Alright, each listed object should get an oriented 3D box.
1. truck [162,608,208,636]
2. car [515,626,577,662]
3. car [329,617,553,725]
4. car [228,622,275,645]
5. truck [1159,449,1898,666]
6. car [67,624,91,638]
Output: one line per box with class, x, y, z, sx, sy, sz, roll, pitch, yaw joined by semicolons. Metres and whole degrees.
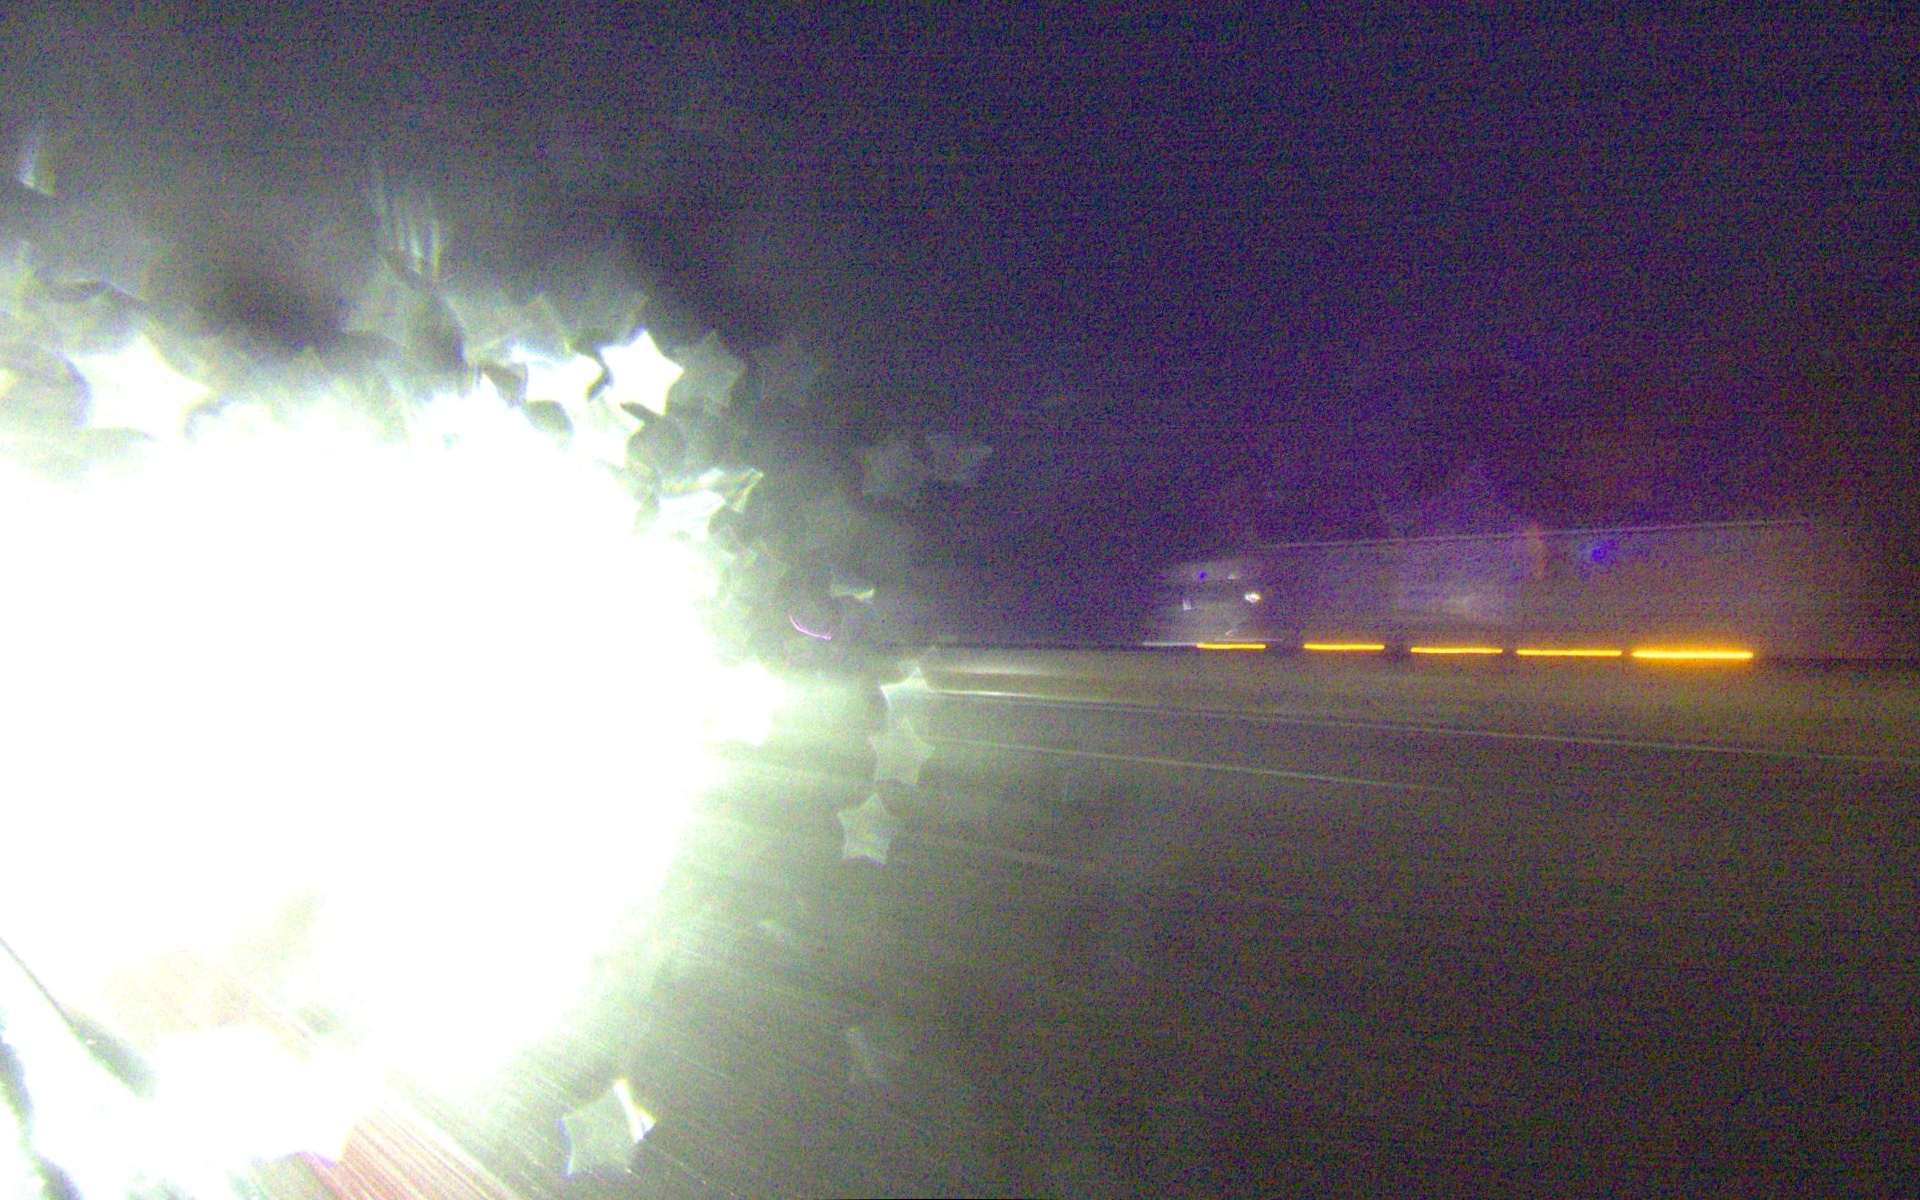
truck;-82.839;2.304;108.155;7.747;2.867;2.868;-1;0;45
car;-22.527;2.368;55.015;3.910;1.818;1.613;-1;0;42
car;-8.201;1.026;15.832;4.243;1.441;1.639;-2;-1;41
car;-55.117;2.598;78.754;4.344;1.685;1.973;-1;0;41
truck;14.267;-0.796;28.499;17.588;4.593;3.375;-1;0;41
car;-108.702;3.838;124.815;4.656;1.685;1.596;-1;0;41
